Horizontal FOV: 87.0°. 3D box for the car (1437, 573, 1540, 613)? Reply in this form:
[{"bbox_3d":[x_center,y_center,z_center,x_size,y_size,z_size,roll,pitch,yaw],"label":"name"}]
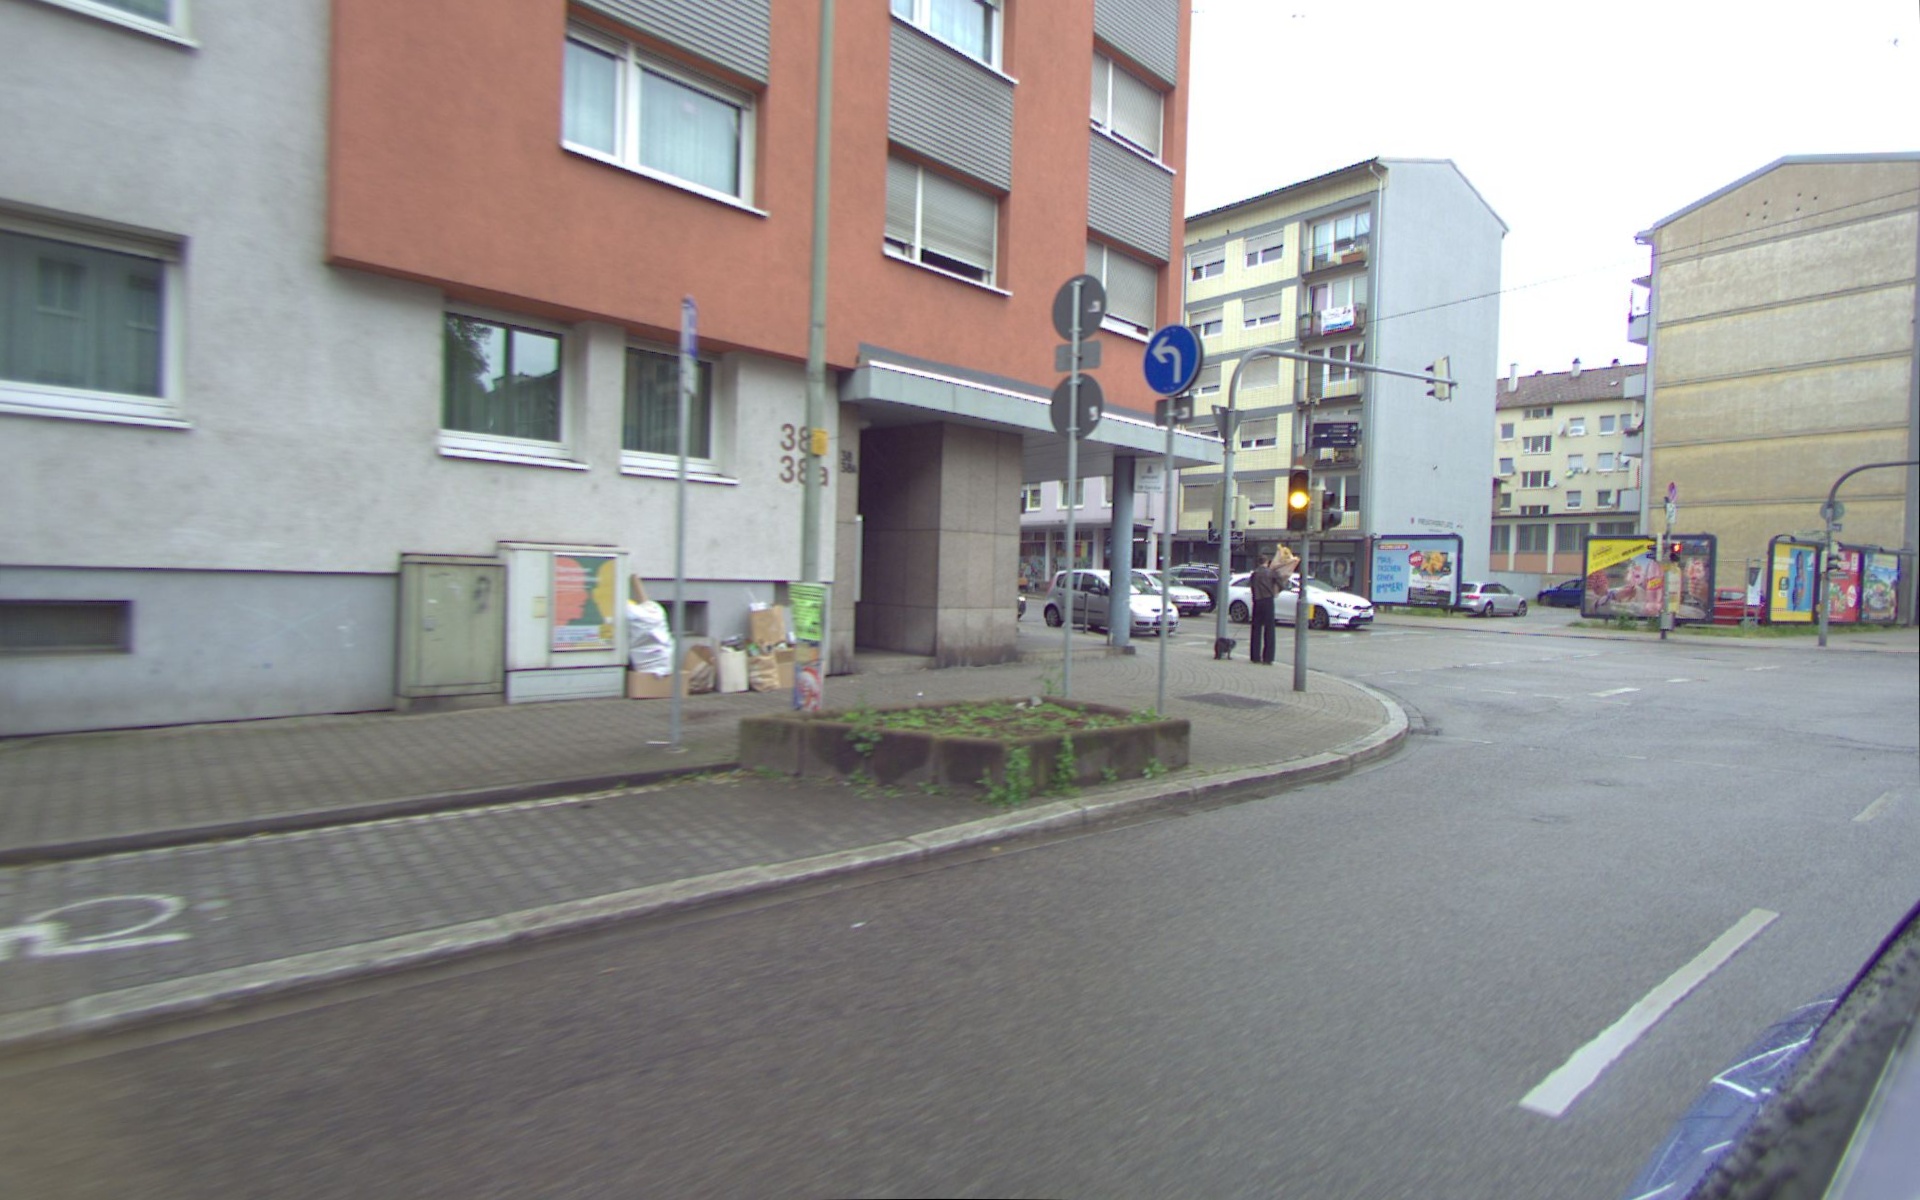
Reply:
[{"bbox_3d":[21.322,-0.277,40.782,4.247,1.458,1.882,0,2,-34],"label":"car"}]

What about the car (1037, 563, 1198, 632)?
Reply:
[{"bbox_3d":[3.810,-0.110,25.071,1.670,1.504,3.961,0,3,-34],"label":"car"}]

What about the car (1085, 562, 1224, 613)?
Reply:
[{"bbox_3d":[6.317,-0.447,33.385,1.810,1.504,4.527,0,3,-34],"label":"car"}]

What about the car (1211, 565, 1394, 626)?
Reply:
[{"bbox_3d":[9.575,-0.188,28.626,1.884,1.504,4.667,0,3,-35],"label":"car"}]

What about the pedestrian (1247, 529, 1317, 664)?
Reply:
[{"bbox_3d":[5.389,-0.063,16.936,0.755,2.186,0.828,1,-1,-34],"label":"pedestrian"}]

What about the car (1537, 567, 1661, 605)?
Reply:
[{"bbox_3d":[30.074,-0.631,47.806,2.110,1.710,4.789,0,0,-15],"label":"car"}]

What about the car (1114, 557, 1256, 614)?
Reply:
[{"bbox_3d":[8.412,-0.576,38.233,1.993,1.893,4.889,4,-1,-44],"label":"car"}]

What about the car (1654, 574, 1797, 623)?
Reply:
[{"bbox_3d":[27.126,-0.073,35.947,2.051,1.571,3.661,0,2,-40],"label":"car"}]

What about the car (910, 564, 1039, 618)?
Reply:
[{"bbox_3d":[0.346,-0.325,30.372,1.636,1.442,4.386,0,3,-34],"label":"car"}]
